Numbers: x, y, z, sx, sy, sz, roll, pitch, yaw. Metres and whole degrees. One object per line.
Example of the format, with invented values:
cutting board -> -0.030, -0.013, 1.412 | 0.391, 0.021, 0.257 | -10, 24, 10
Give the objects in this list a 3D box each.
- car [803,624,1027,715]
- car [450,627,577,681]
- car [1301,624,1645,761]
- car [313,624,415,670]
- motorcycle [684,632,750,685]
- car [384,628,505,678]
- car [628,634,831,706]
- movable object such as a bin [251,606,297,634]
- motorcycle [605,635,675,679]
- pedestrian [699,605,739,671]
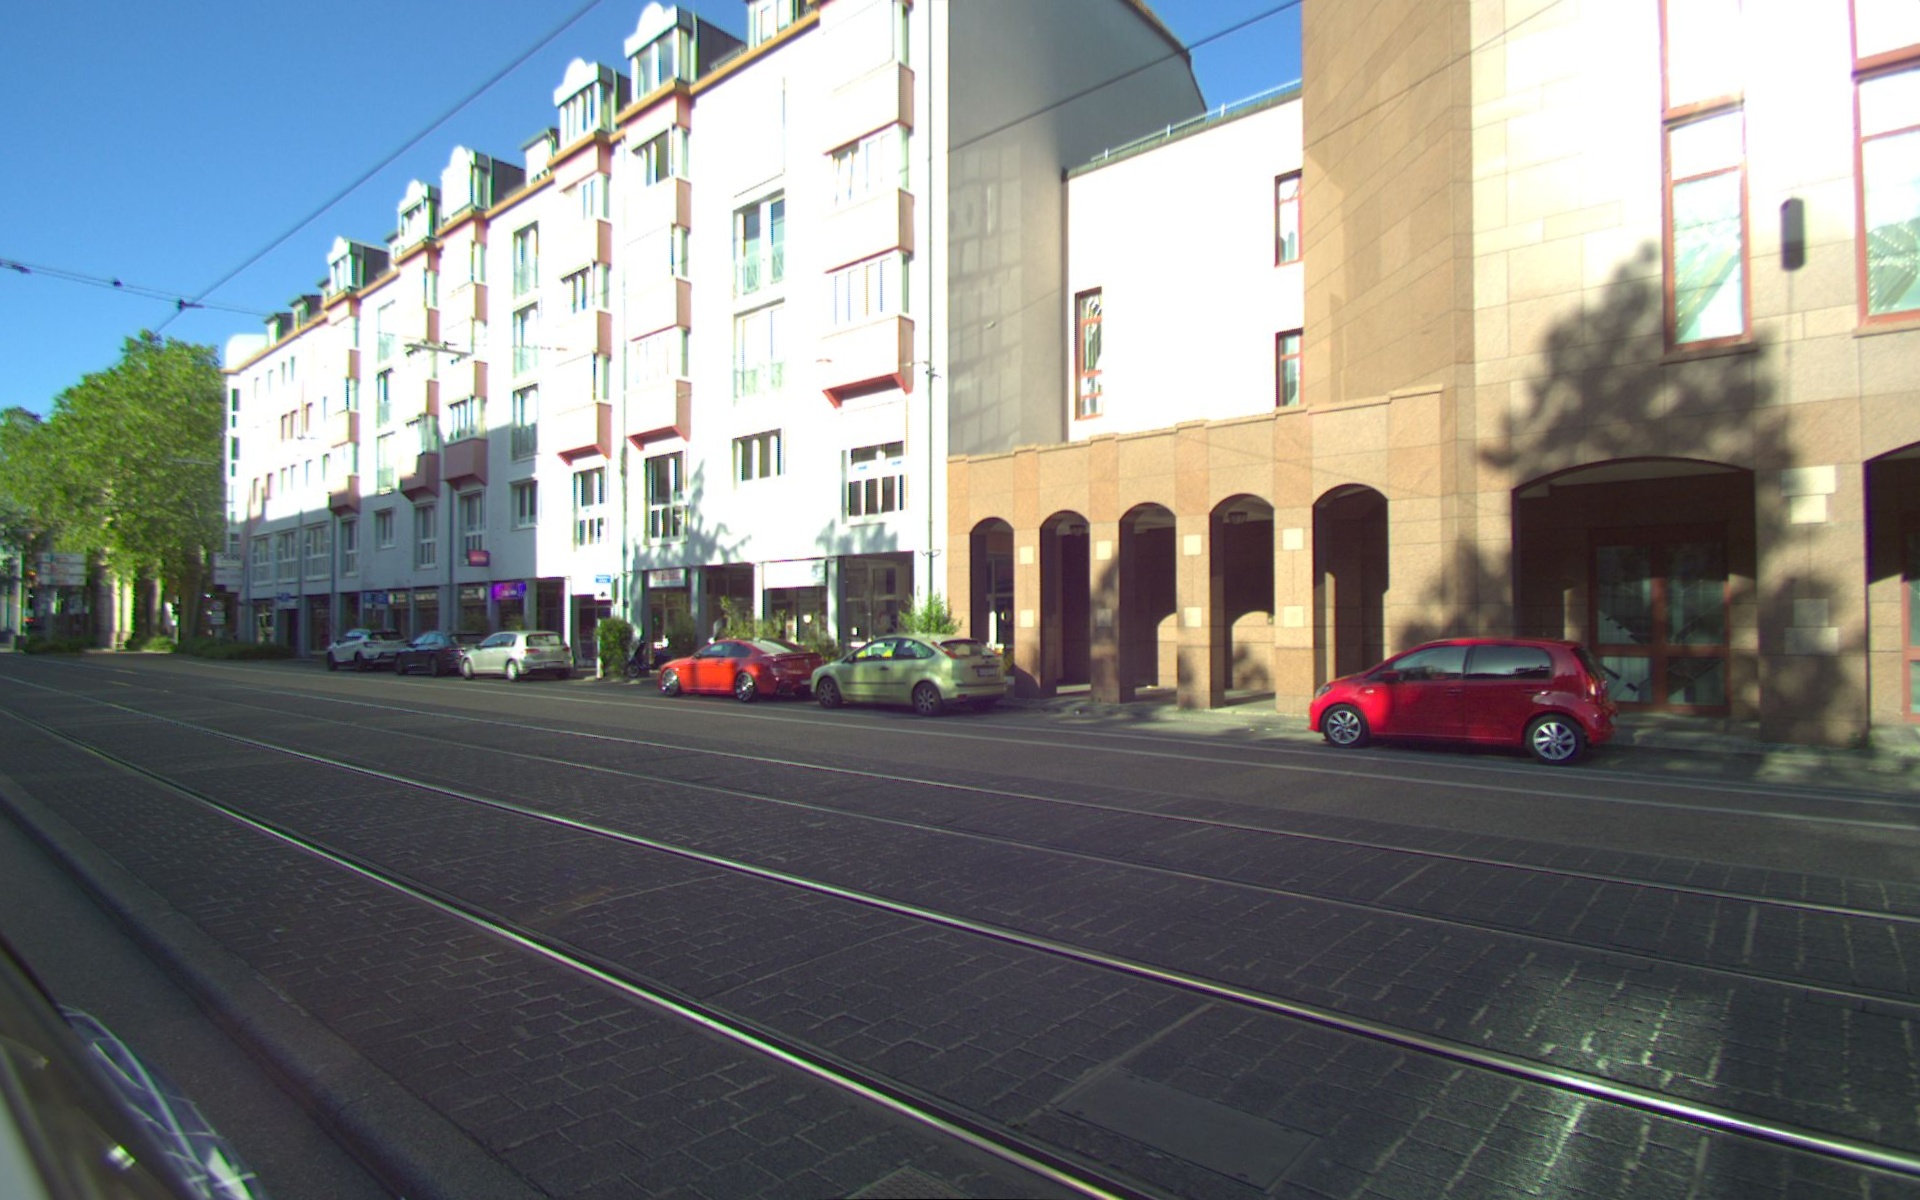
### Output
car -> -0.943, 1.225, 19.251 | 4.288, 1.479, 1.652 | -1, 0, 41
car -> -13.362, 1.562, 30.187 | 4.202, 1.486, 1.734 | -1, -1, 38
car -> 6.435, 1.061, 12.890 | 3.618, 1.432, 1.642 | -1, 0, 41
car -> -22.689, 1.727, 38.487 | 4.364, 1.626, 1.899 | -1, -1, 38
motorcycle -> -6.248, 1.477, 25.946 | 2.080, 1.307, 0.513 | -2, 0, 40
car -> -17.049, 1.694, 33.366 | 4.823, 1.469, 1.882 | -1, -1, 40
car -> -5.278, 1.495, 22.797 | 4.817, 1.335, 1.940 | -1, 0, 40
movable object such as a bin -> -49.776, 1.452, 73.435 | 2.604, 2.029, 1.179 | 0, -1, -25
motorcycle -> -8.991, 1.596, 28.399 | 2.068, 1.203, 0.458 | -2, 0, 23
pedestrian -> -6.969, 1.078, 29.289 | 0.715, 1.857, 0.813 | -2, 0, 32
